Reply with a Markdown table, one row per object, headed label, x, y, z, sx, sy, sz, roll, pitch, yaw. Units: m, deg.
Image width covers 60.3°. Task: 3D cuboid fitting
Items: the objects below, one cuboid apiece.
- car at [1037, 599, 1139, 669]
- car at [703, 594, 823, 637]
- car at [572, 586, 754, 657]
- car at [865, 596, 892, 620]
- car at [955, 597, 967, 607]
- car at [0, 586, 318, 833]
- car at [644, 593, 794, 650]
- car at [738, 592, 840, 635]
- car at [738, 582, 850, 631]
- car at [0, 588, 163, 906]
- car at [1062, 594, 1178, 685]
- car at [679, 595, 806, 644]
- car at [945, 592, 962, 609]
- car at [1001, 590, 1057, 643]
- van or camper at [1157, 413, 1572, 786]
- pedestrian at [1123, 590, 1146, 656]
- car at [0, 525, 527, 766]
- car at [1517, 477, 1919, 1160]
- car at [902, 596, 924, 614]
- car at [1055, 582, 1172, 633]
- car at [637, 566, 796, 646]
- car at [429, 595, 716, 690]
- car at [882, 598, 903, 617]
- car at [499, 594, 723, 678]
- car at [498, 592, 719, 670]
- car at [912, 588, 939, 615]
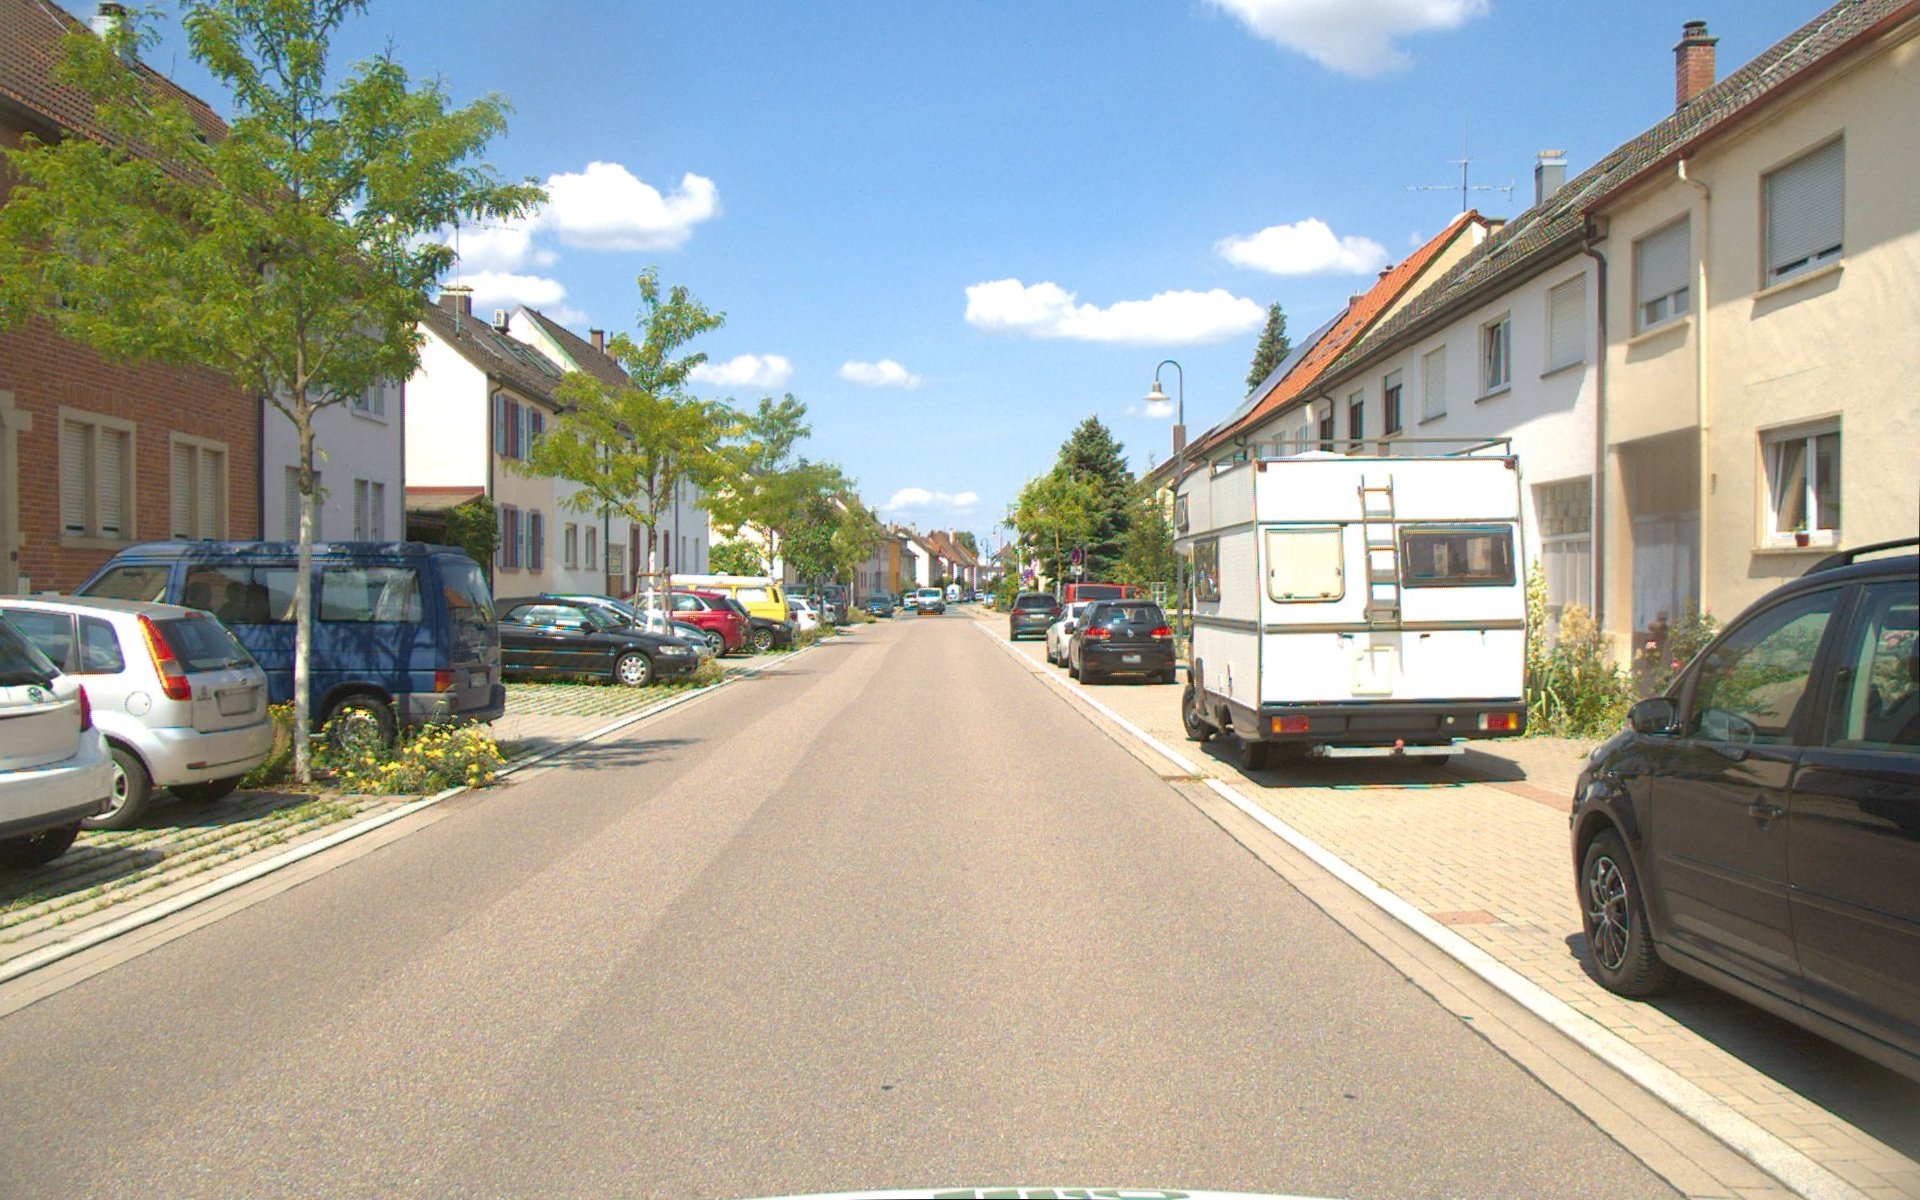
| label | x | y | z | sx | sy | sz | roll | pitch | yaw |
| --- | --- | --- | --- | --- | --- | --- | --- | --- | --- |
| car | 2.861 | 0.725 | 37.844 | 1.795 | 1.491 | 4.517 | 1 | 0 | -3 |
| car | -7.318 | 0.591 | 61.656 | 4.206 | 1.493 | 1.774 | 1 | -1 | 1 |
| car | -7.350 | 0.532 | 41.199 | 4.167 | 1.639 | 1.842 | 1 | 0 | -2 |
| car | -5.746 | 0.561 | 116.373 | 1.780 | 1.458 | 4.137 | 4 | 1 | -3 |
| car | 0.221 | 0.287 | 257.270 | 1.656 | 1.530 | 3.772 | 2 | -1 | 3 |
| car | -6.684 | 0.663 | 11.319 | 3.835 | 1.514 | 1.773 | 1 | 0 | 1 |
| car | -6.735 | 0.590 | 46.504 | 3.928 | 1.485 | 1.755 | 1 | 0 | -1 |
| car | -7.054 | 0.560 | 68.539 | 4.101 | 1.596 | 1.772 | 2 | -1 | -4 |
| car | -7.132 | 0.294 | 71.329 | 4.604 | 1.957 | 1.937 | 2 | -1 | -1 |
| car | -6.484 | 0.662 | 8.541 | 3.835 | 1.514 | 1.773 | 1 | 0 | 1 |
| car | 2.895 | 0.684 | 30.629 | 1.731 | 1.556 | 4.007 | 1 | 0 | 0 |
| car | -7.067 | 0.631 | 53.645 | 3.996 | 1.493 | 1.750 | 1 | 0 | -9 |
| car | -0.921 | 0.127 | 234.935 | 2.002 | 2.352 | 3.772 | 2 | -1 | 3 |
| car | 2.371 | 0.544 | 57.729 | 1.825 | 1.664 | 4.447 | -2 | 1 | 2 |
| van or camper | 3.485 | -0.026 | 15.721 | 2.423 | 2.859 | 5.789 | -1 | 0 | -1 |
| pedestrian | 4.758 | 0.633 | 45.213 | 0.546 | 1.779 | 0.673 | 0 | -1 | 0 |
| car | -6.646 | 0.398 | 15.629 | 4.518 | 2.031 | 1.953 | 1 | 0 | 1 |
| car | 3.302 | 0.563 | 5.034 | 1.731 | 1.734 | 4.324 | 1 | 0 | 0 |
| car | -4.673 | 0.543 | 165.302 | 1.811 | 1.688 | 4.001 | 2 | 0 | 2 |
| car | 6.250 | 0.321 | 67.621 | 4.526 | 1.927 | 2.020 | 2 | -1 | -2 |
| car | -7.182 | 0.167 | 49.121 | 4.417 | 2.215 | 1.925 | 1 | 0 | -1 |
| car | -6.498 | 0.701 | 28.103 | 4.432 | 1.450 | 1.795 | 1 | 0 | -1 |
| car | -6.232 | 0.661 | 153.321 | 1.774 | 1.637 | 4.000 | 2 | 0 | 0 |
| car | -6.691 | 0.684 | 32.046 | 3.973 | 1.503 | 1.774 | 1 | 0 | -3 |
| car | -7.370 | 0.643 | 34.997 | 4.317 | 1.503 | 1.774 | 1 | 0 | -5 |
| car | -2.563 | 0.149 | 122.379 | 1.982 | 1.984 | 4.896 | 0 | -1 | -2 |
